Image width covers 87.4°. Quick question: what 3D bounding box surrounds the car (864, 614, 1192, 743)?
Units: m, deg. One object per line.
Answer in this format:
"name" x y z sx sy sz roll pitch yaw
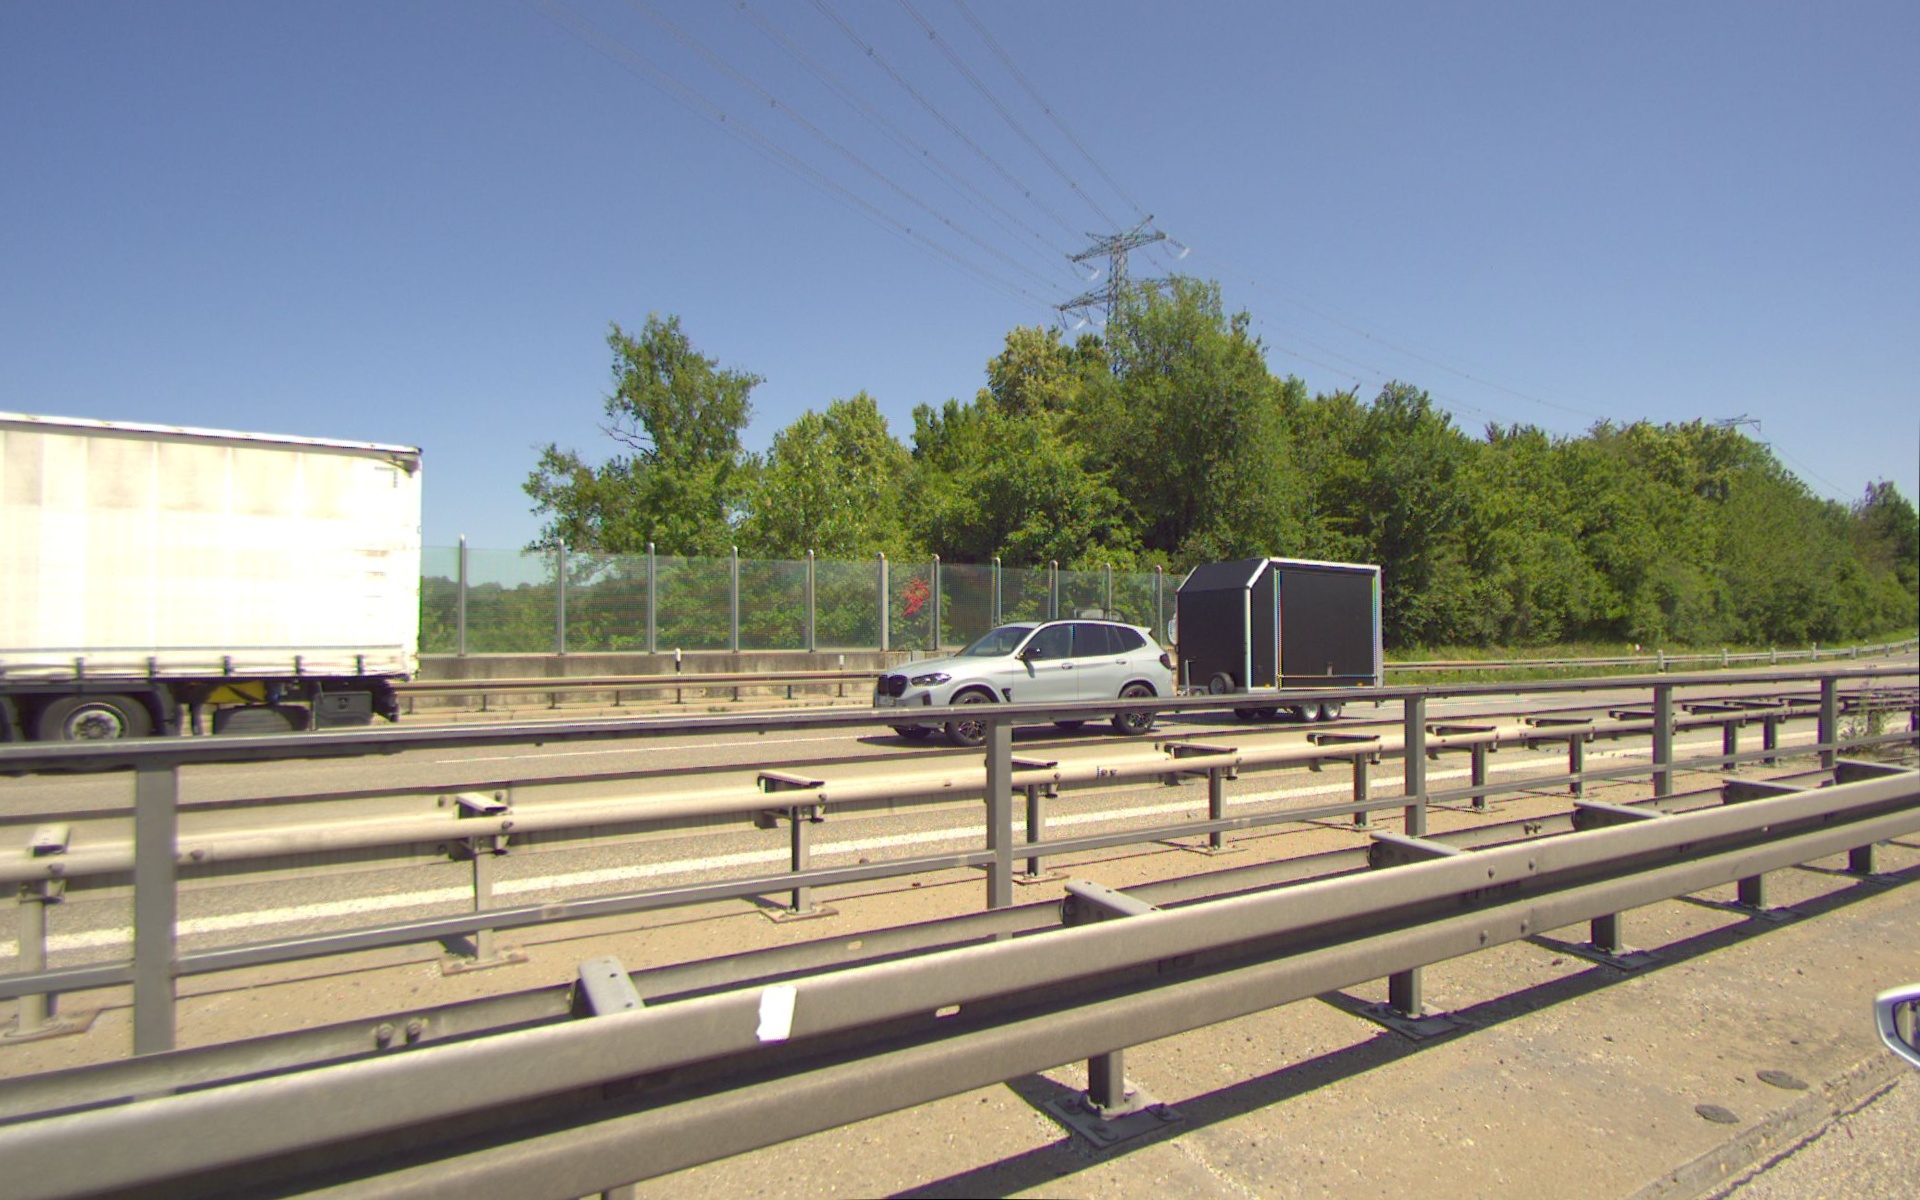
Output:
"car" 1.046 1.136 14.785 4.575 1.646 1.863 2 -5 -30

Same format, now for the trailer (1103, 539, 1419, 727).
"trailer" 5.244 0.644 17.339 5.313 2.813 2.156 2 -4 -30

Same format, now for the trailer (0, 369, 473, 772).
"trailer" -13.282 -0.319 11.205 13.876 4.291 3.970 1 -2 -31
